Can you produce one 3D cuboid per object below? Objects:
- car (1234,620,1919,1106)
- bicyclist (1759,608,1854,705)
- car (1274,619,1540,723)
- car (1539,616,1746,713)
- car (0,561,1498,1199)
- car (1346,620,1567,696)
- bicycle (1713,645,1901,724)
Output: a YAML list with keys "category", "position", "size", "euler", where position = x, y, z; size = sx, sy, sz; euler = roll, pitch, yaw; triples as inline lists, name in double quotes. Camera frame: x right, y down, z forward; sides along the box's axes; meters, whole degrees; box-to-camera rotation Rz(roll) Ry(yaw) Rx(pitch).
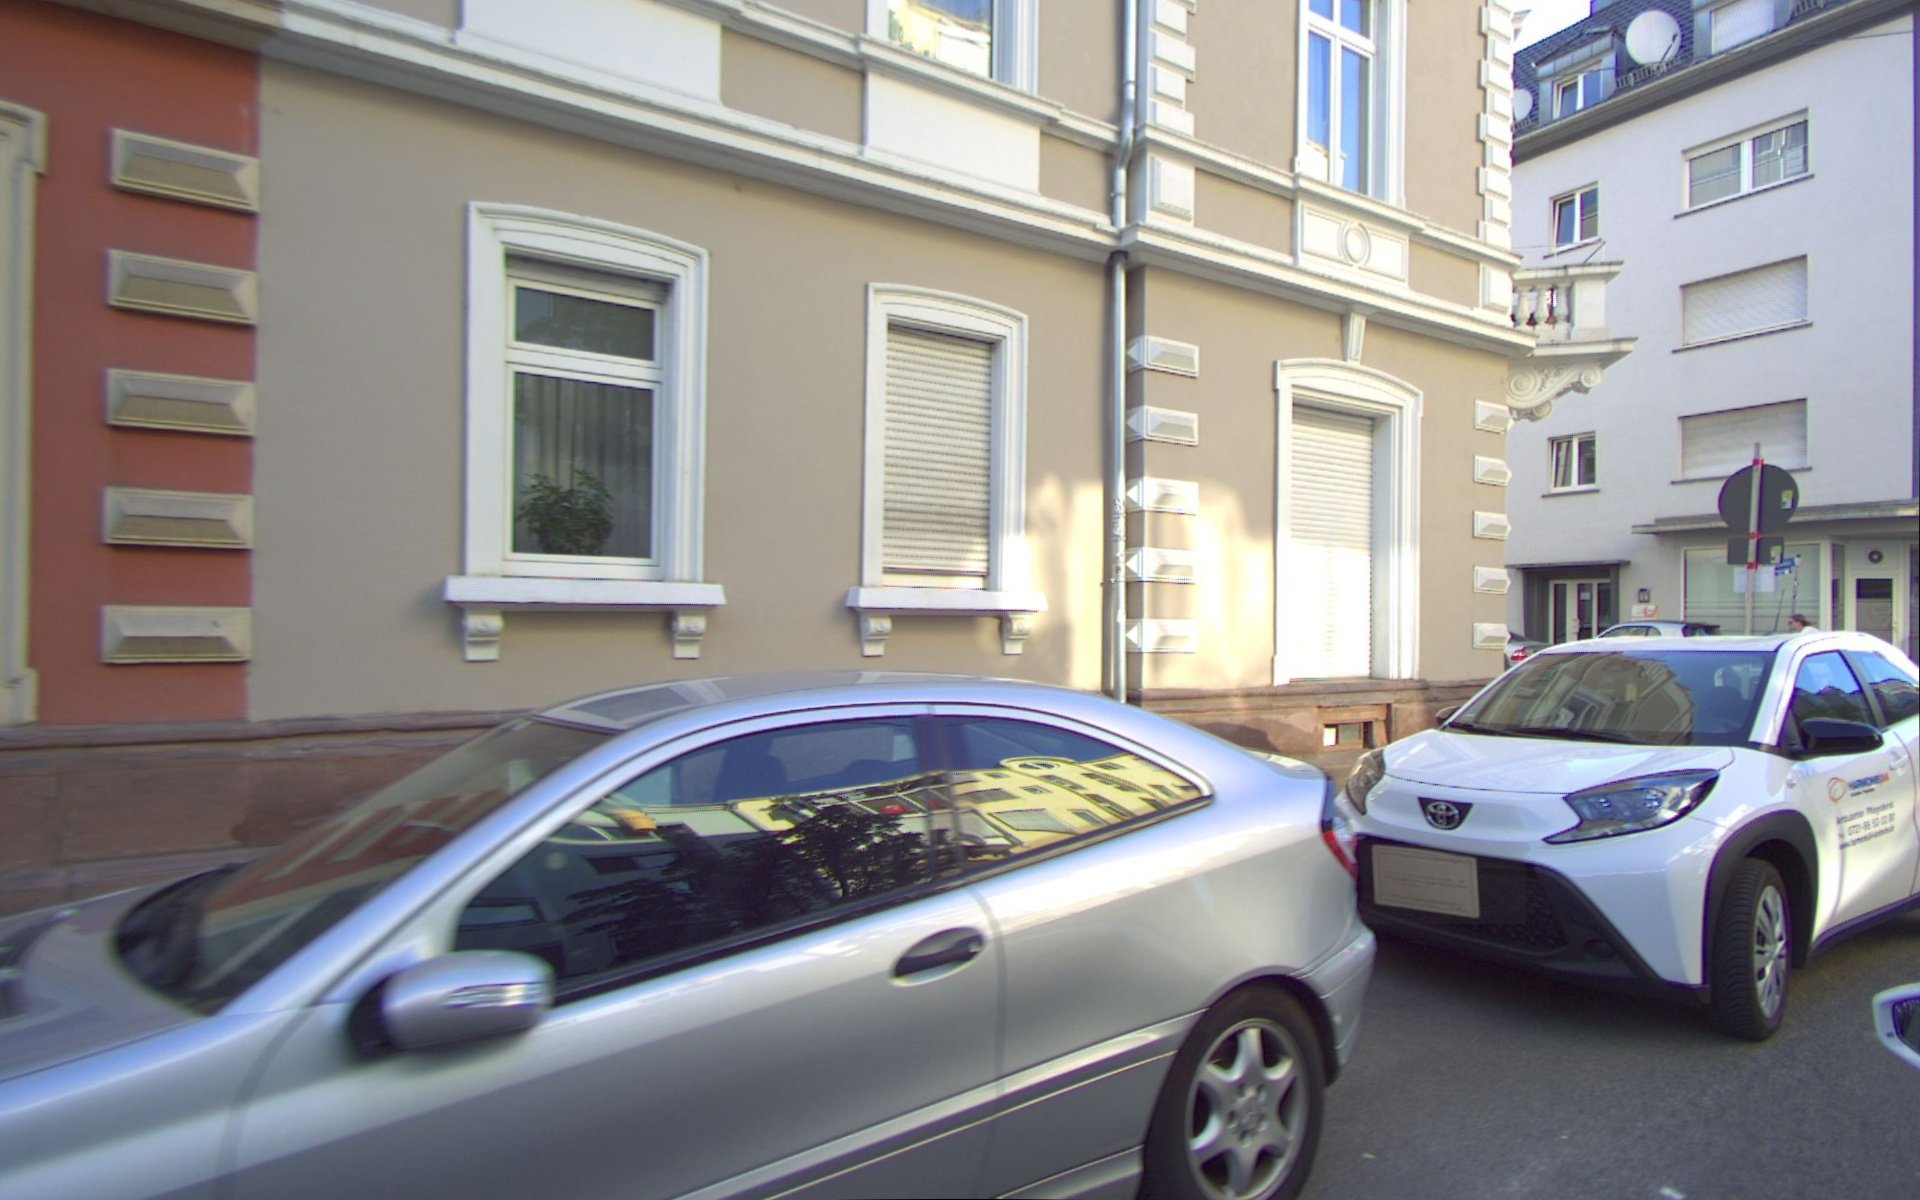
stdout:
- category: "car"
  position: [3.623, 0.896, 5.095]
  size: [4.217, 1.527, 1.912]
  euler: [1, -3, -31]
- category: "bicyclist"
  position: [13.070, 0.849, 15.537]
  size: [0.922, 1.431, 0.734]
  euler: [2, 1, 24]
- category: "car"
  position: [7.187, 1.063, 16.435]
  size: [1.712, 1.470, 3.641]
  euler: [1, -1, -35]
- category: "car"
  position: [12.593, 1.132, 18.653]
  size: [1.575, 1.560, 2.773]
  euler: [1, 0, -30]
- category: "car"
  position: [-0.755, 0.801, 2.570]
  size: [4.220, 1.580, 1.911]
  euler: [1, -3, -32]
- category: "car"
  position: [10.824, 1.207, 22.196]
  size: [1.585, 1.422, 4.181]
  euler: [1, 0, -32]
- category: "bicycle"
  position: [13.037, 1.284, 15.552]
  size: [2.075, 1.041, 0.734]
  euler: [2, 0, 25]
